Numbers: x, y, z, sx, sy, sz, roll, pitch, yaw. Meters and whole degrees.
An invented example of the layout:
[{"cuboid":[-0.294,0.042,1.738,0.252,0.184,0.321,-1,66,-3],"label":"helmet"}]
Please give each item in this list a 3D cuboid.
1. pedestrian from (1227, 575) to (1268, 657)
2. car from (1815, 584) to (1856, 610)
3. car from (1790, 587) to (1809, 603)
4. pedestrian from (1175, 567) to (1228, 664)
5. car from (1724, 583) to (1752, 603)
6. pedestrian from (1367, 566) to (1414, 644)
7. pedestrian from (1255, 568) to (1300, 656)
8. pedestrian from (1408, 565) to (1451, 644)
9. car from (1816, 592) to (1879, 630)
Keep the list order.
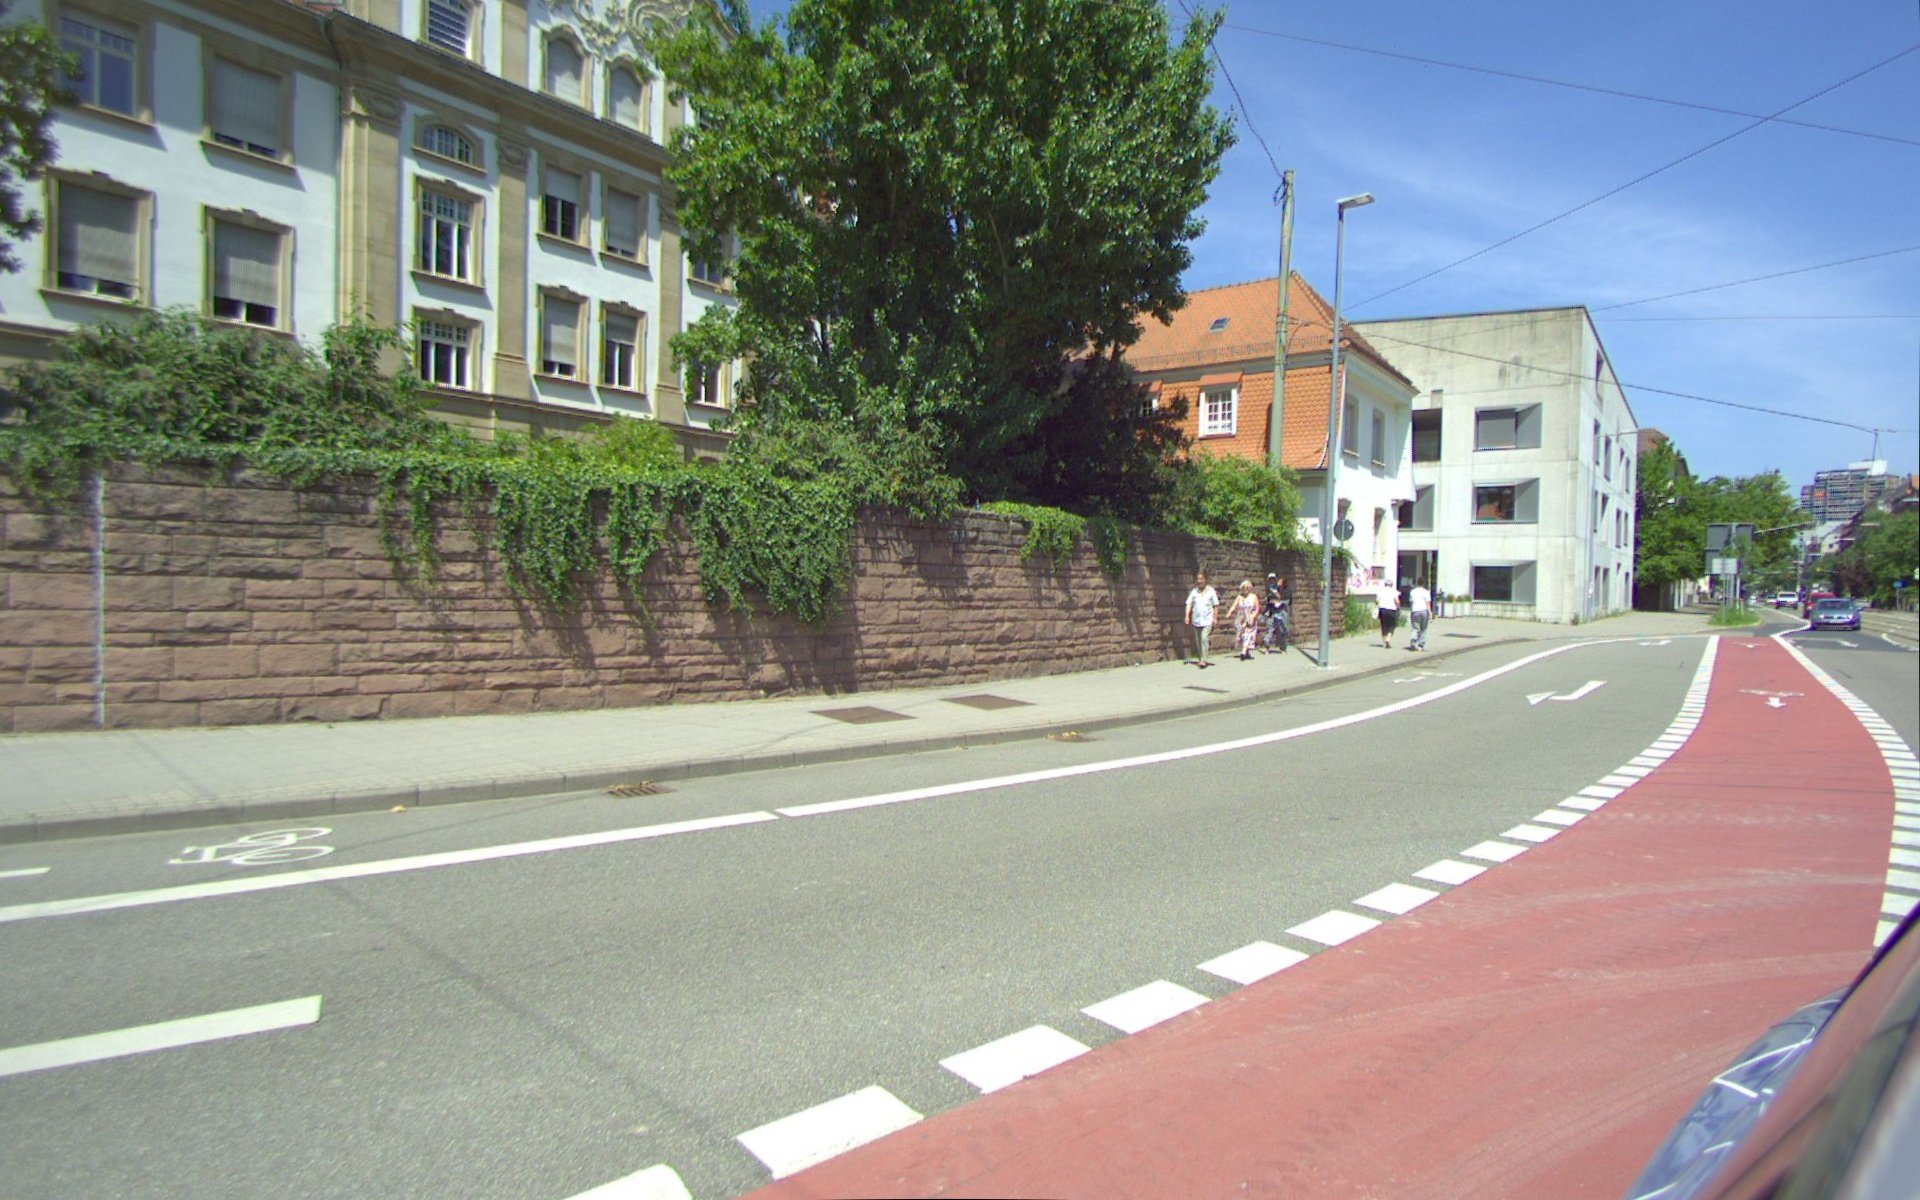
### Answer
[{"cuboid":[5.585,0.294,19.632,0.515,1.552,0.588,2,1,43],"label":"pedestrian"},{"cuboid":[59.617,-0.210,68.956,1.866,1.668,3.729,2,2,37],"label":"car"},{"cuboid":[94.270,-0.596,113.669,1.613,1.730,3.382,2,2,39],"label":"car"},{"cuboid":[4.277,0.256,17.926,0.661,1.667,0.614,2,1,43],"label":"pedestrian"},{"cuboid":[66.798,-0.616,86.858,1.856,1.597,4.810,2,2,38],"label":"car"},{"cuboid":[10.423,0.106,24.504,0.814,1.830,0.689,2,1,43],"label":"pedestrian"},{"cuboid":[6.699,0.241,21.351,0.714,1.795,0.621,1,0,37],"label":"pedestrian"},{"cuboid":[11.086,0.099,23.895,0.677,1.830,0.736,2,1,42],"label":"pedestrian"},{"cuboid":[40.780,0.471,46.589,1.885,1.589,3.983,2,2,38],"label":"car"}]
